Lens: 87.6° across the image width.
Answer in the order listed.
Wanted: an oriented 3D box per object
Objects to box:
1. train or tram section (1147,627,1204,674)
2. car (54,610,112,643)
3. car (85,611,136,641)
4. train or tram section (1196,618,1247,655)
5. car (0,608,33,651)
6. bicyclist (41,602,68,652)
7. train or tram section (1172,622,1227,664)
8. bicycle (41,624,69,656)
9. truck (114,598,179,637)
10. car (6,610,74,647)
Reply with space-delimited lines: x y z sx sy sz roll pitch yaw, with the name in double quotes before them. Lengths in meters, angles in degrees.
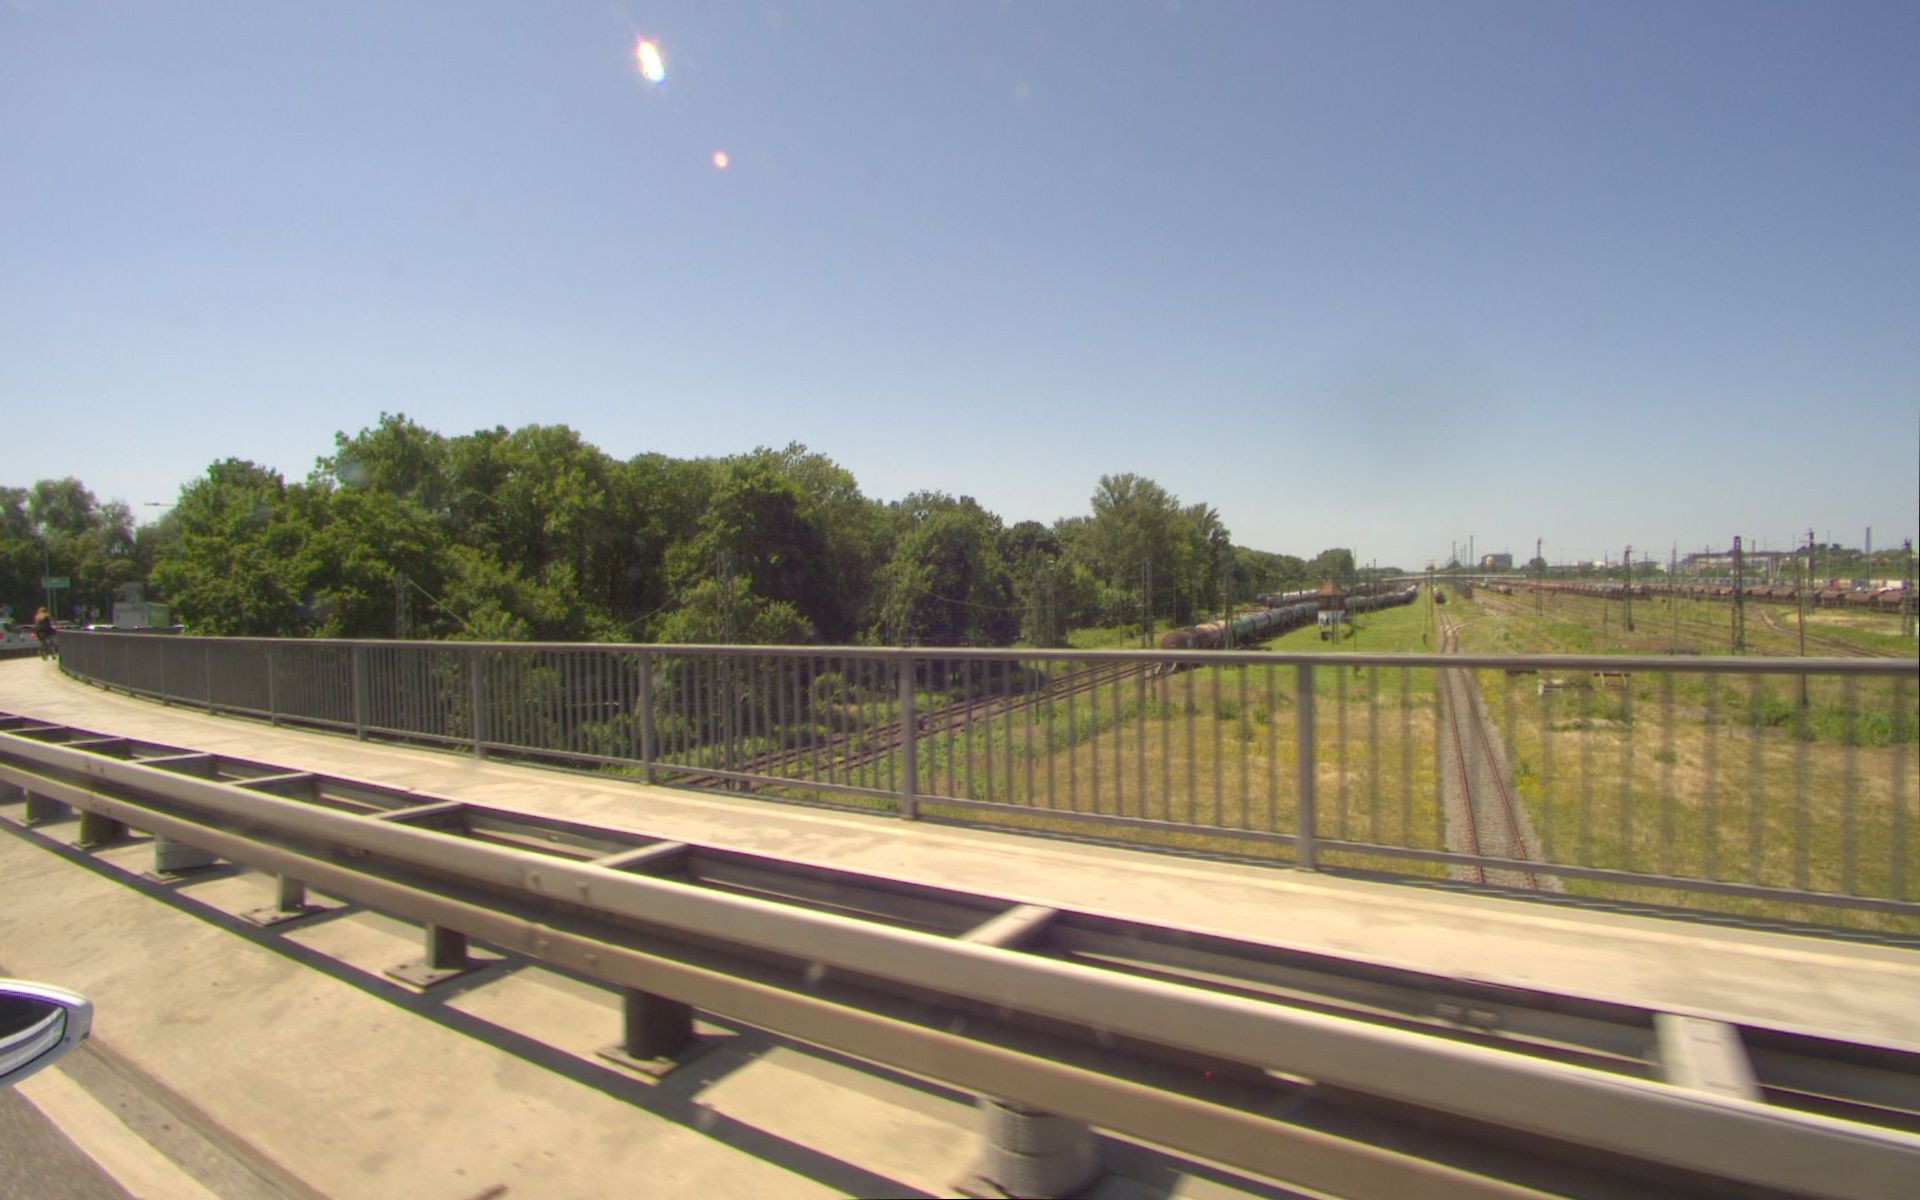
"train or tram section" 24.788 5.621 114.340 3.788 4.365 13.588 -2 0 23
"car" -51.553 1.570 58.931 1.701 1.868 3.981 1 -1 -29
"car" -54.894 1.657 64.747 1.701 1.868 3.981 1 -1 -29
"train or tram section" 36.407 4.949 138.905 3.792 4.365 13.574 -2 1 27
"car" -43.567 1.306 45.310 1.703 1.868 3.975 1 -1 -33
"bicyclist" -31.303 0.920 34.608 0.573 1.705 0.723 -3 2 -38
"train or tram section" 30.442 5.292 126.739 3.791 4.365 13.577 -2 1 26
"bicycle" -31.307 1.383 34.649 0.577 1.049 1.473 -3 1 -38
"truck" -64.207 1.391 79.146 2.304 2.911 5.923 0 -1 -22
"car" -47.165 1.431 51.395 1.702 1.826 3.980 1 -1 -30
